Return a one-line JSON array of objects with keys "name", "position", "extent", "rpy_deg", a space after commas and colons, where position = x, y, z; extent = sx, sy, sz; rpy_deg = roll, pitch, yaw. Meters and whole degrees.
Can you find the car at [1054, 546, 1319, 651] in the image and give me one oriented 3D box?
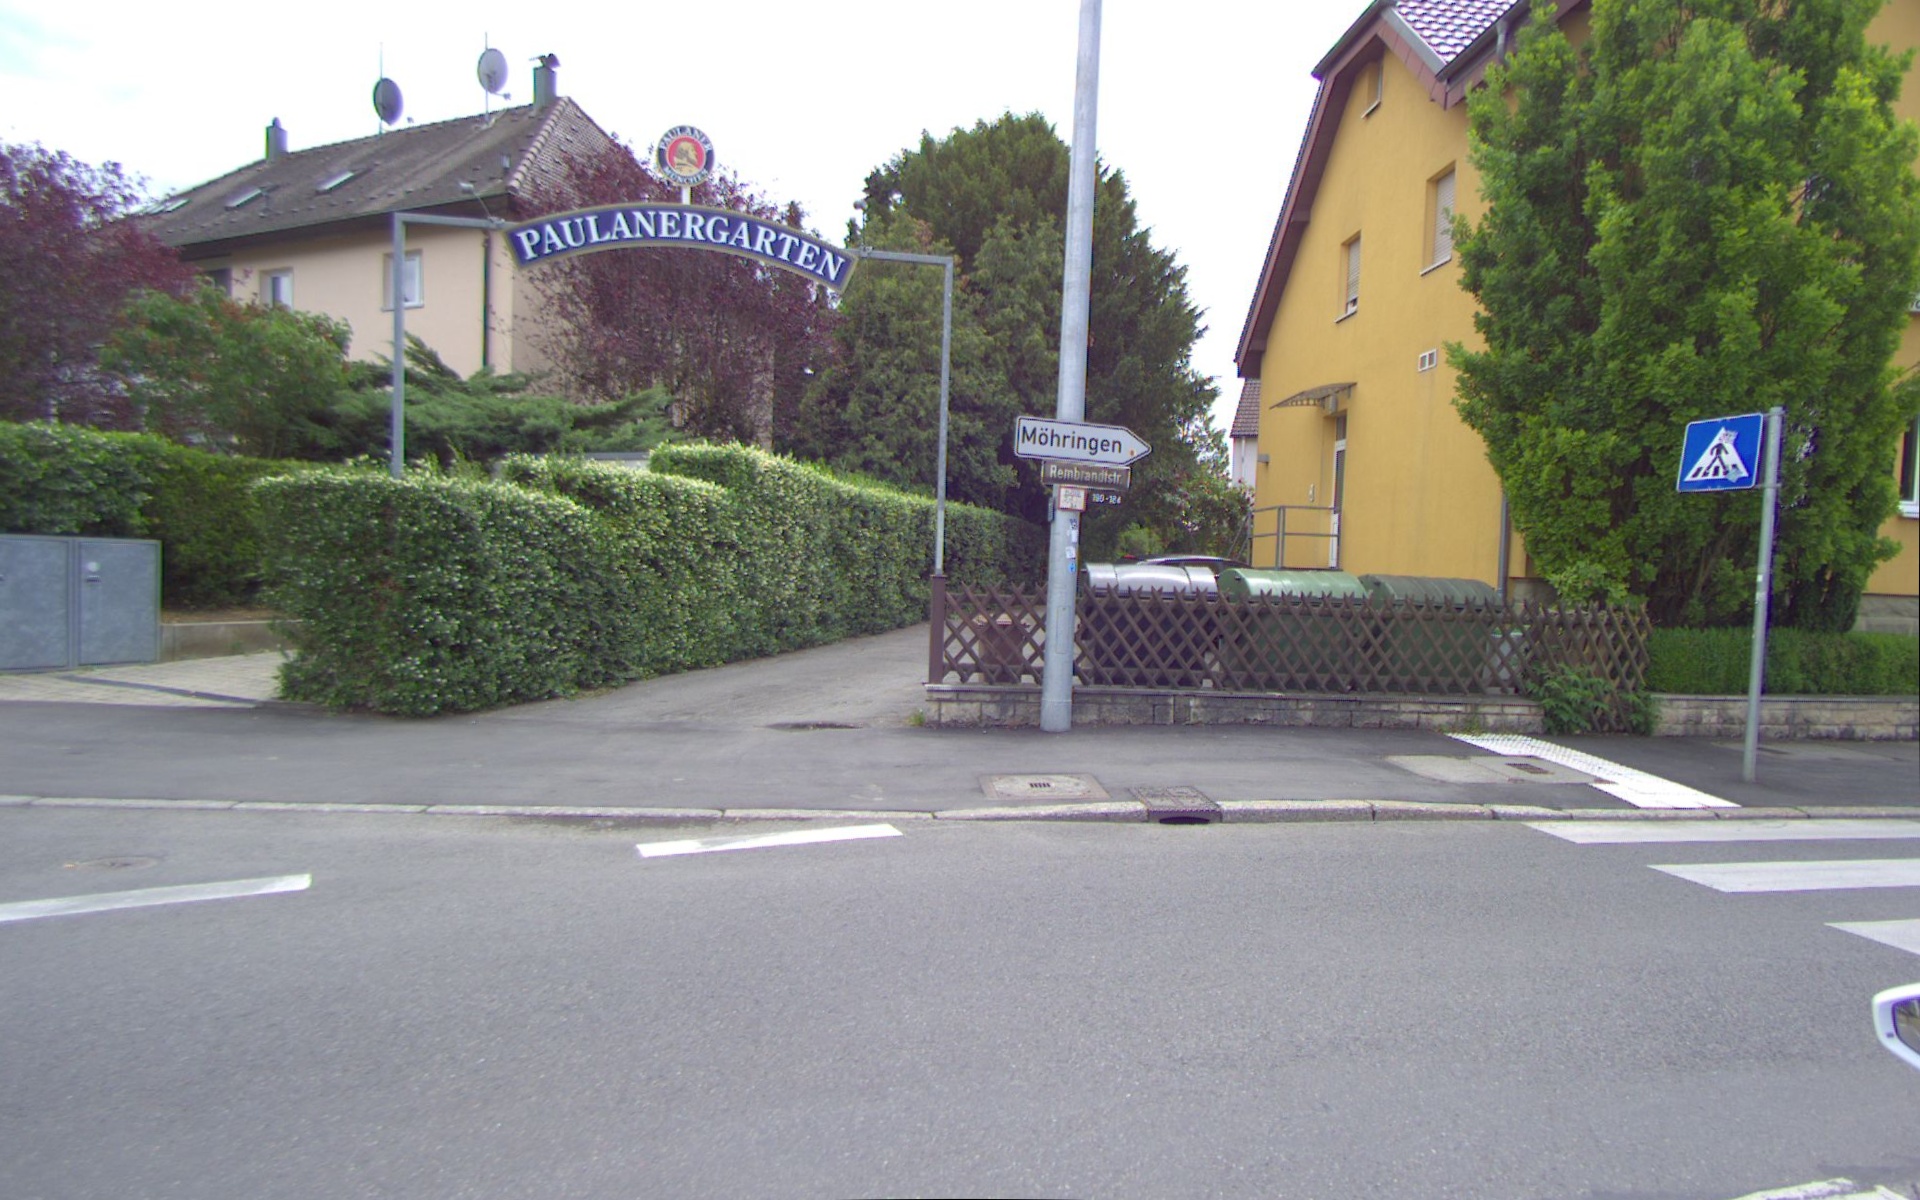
[{"name": "car", "position": [3.473, -0.041, 15.714], "extent": [3.614, 1.447, 1.723], "rpy_deg": [1, 5, -11]}]
